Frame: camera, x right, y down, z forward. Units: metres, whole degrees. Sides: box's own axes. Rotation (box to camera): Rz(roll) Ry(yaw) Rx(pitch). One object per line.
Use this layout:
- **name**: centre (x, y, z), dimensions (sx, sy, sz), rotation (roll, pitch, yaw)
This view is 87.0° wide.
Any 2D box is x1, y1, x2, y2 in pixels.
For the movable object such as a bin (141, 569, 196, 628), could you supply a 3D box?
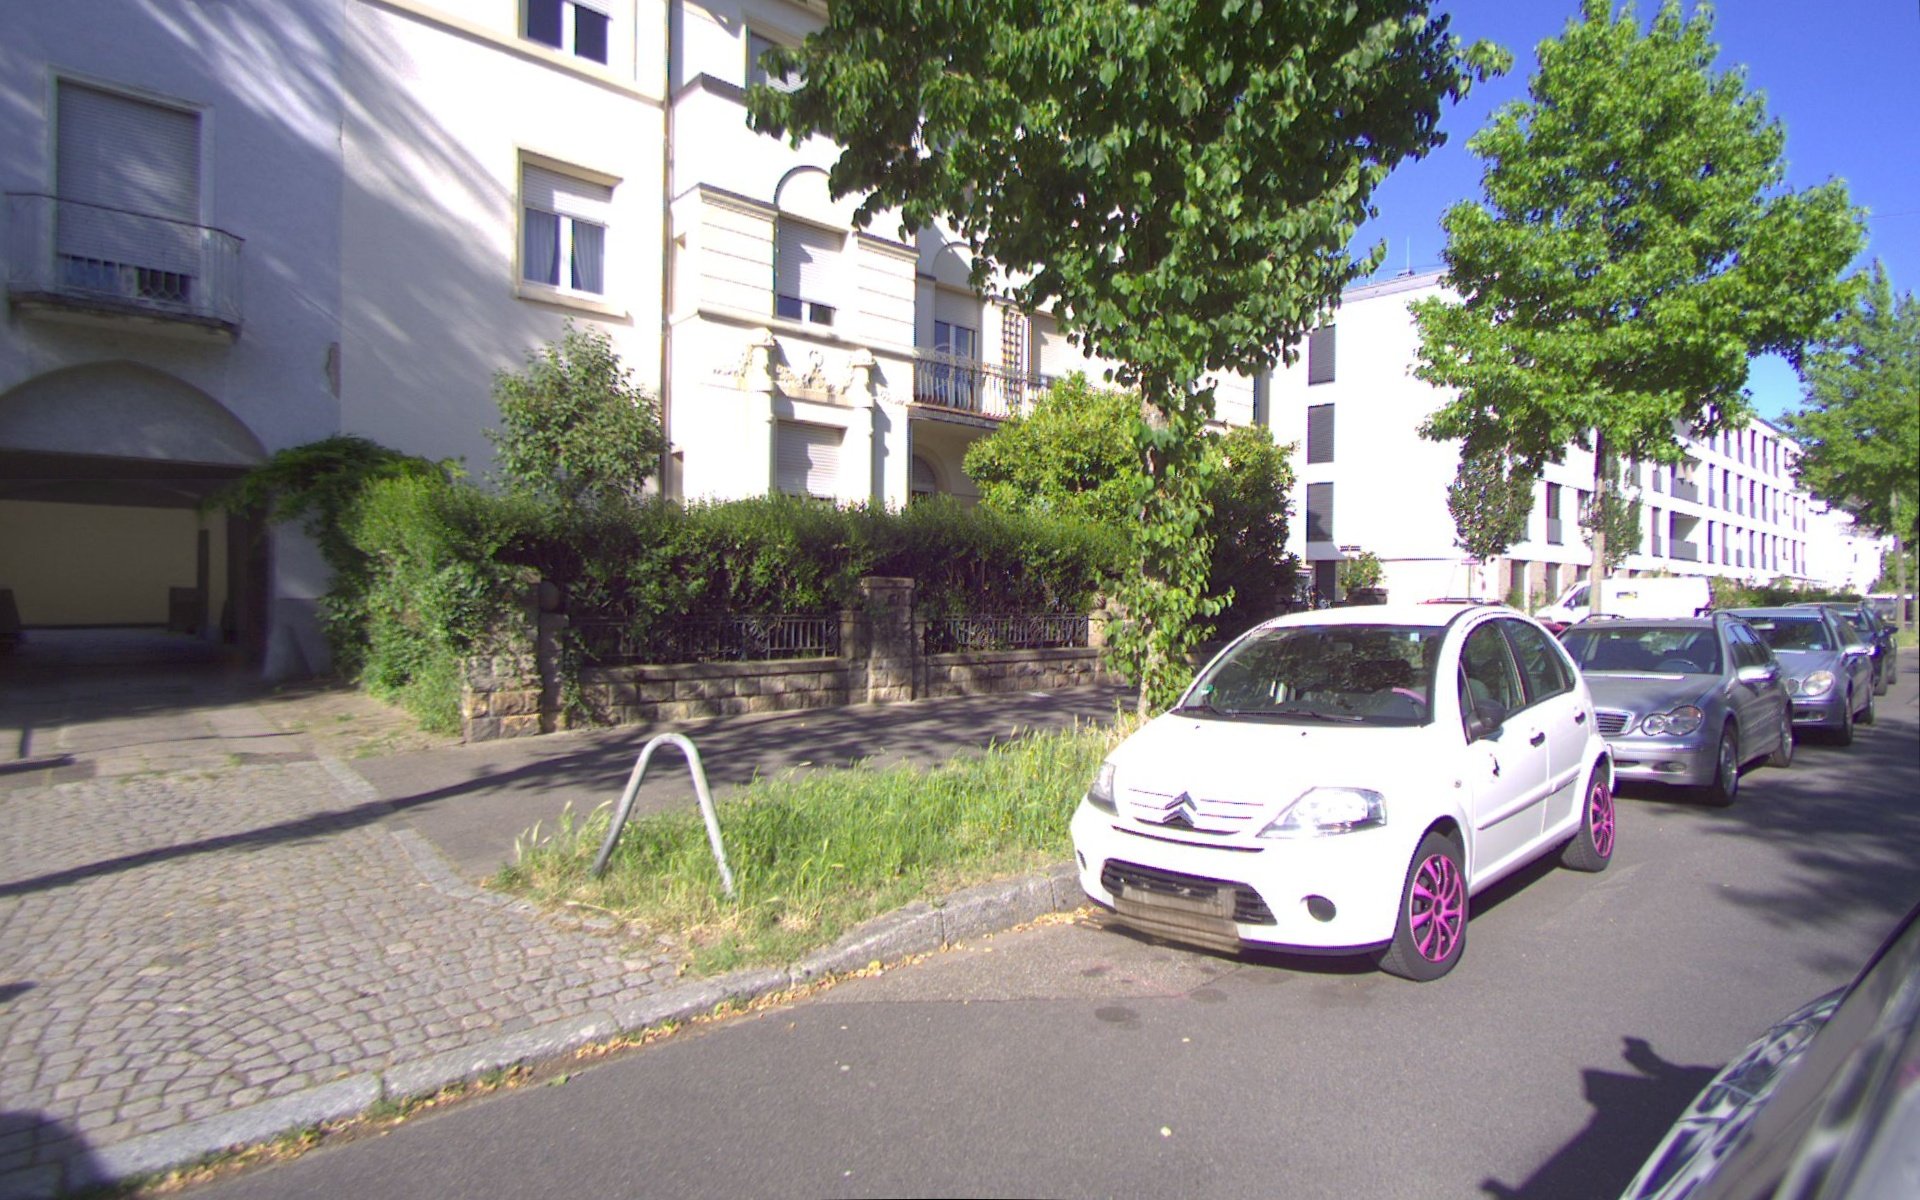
- **movable object such as a bin**: centre (-20.188, -0.041, 25.816), dimensions (1.060, 1.466, 0.816), rotation (0, 1, -41)

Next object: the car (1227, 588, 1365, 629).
- **car**: centre (13.386, 0.313, 40.596), dimensions (1.927, 1.447, 4.935), rotation (3, -1, -42)

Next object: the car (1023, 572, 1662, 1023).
- **car**: centre (2.283, 0.696, 5.449), dimensions (3.902, 1.552, 1.655), rotation (0, -1, -43)

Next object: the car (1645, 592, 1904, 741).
- **car**: centre (10.146, 0.668, 12.453), dimensions (4.827, 1.488, 1.823), rotation (0, -1, -43)

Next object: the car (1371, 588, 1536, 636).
- **car**: centre (17.532, 0.384, 36.140), dimensions (2.013, 1.488, 4.934), rotation (1, 1, -43)

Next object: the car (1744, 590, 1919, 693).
- **car**: centre (15.533, 0.606, 17.918), dimensions (4.884, 1.543, 1.897), rotation (-1, 1, -43)

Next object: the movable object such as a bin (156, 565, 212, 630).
- **movable object such as a bin**: centre (-18.869, -0.069, 24.603), dimensions (1.044, 1.549, 0.941), rotation (0, 1, -41)

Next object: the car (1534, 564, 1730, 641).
- **car**: centre (21.796, 0.026, 33.118), dimensions (5.005, 2.335, 2.215), rotation (1, 1, 26)

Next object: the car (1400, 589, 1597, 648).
- **car**: centre (15.238, 0.445, 28.959), dimensions (1.913, 1.488, 4.741), rotation (0, 1, -27)

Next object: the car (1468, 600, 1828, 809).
- **car**: centre (6.453, 0.723, 9.228), dimensions (4.780, 1.428, 1.712), rotation (0, -1, -43)

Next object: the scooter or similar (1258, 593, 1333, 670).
- **scooter or similar**: centre (5.407, 0.506, 16.283), dimensions (1.181, 1.200, 0.403), rotation (1, 0, -26)
